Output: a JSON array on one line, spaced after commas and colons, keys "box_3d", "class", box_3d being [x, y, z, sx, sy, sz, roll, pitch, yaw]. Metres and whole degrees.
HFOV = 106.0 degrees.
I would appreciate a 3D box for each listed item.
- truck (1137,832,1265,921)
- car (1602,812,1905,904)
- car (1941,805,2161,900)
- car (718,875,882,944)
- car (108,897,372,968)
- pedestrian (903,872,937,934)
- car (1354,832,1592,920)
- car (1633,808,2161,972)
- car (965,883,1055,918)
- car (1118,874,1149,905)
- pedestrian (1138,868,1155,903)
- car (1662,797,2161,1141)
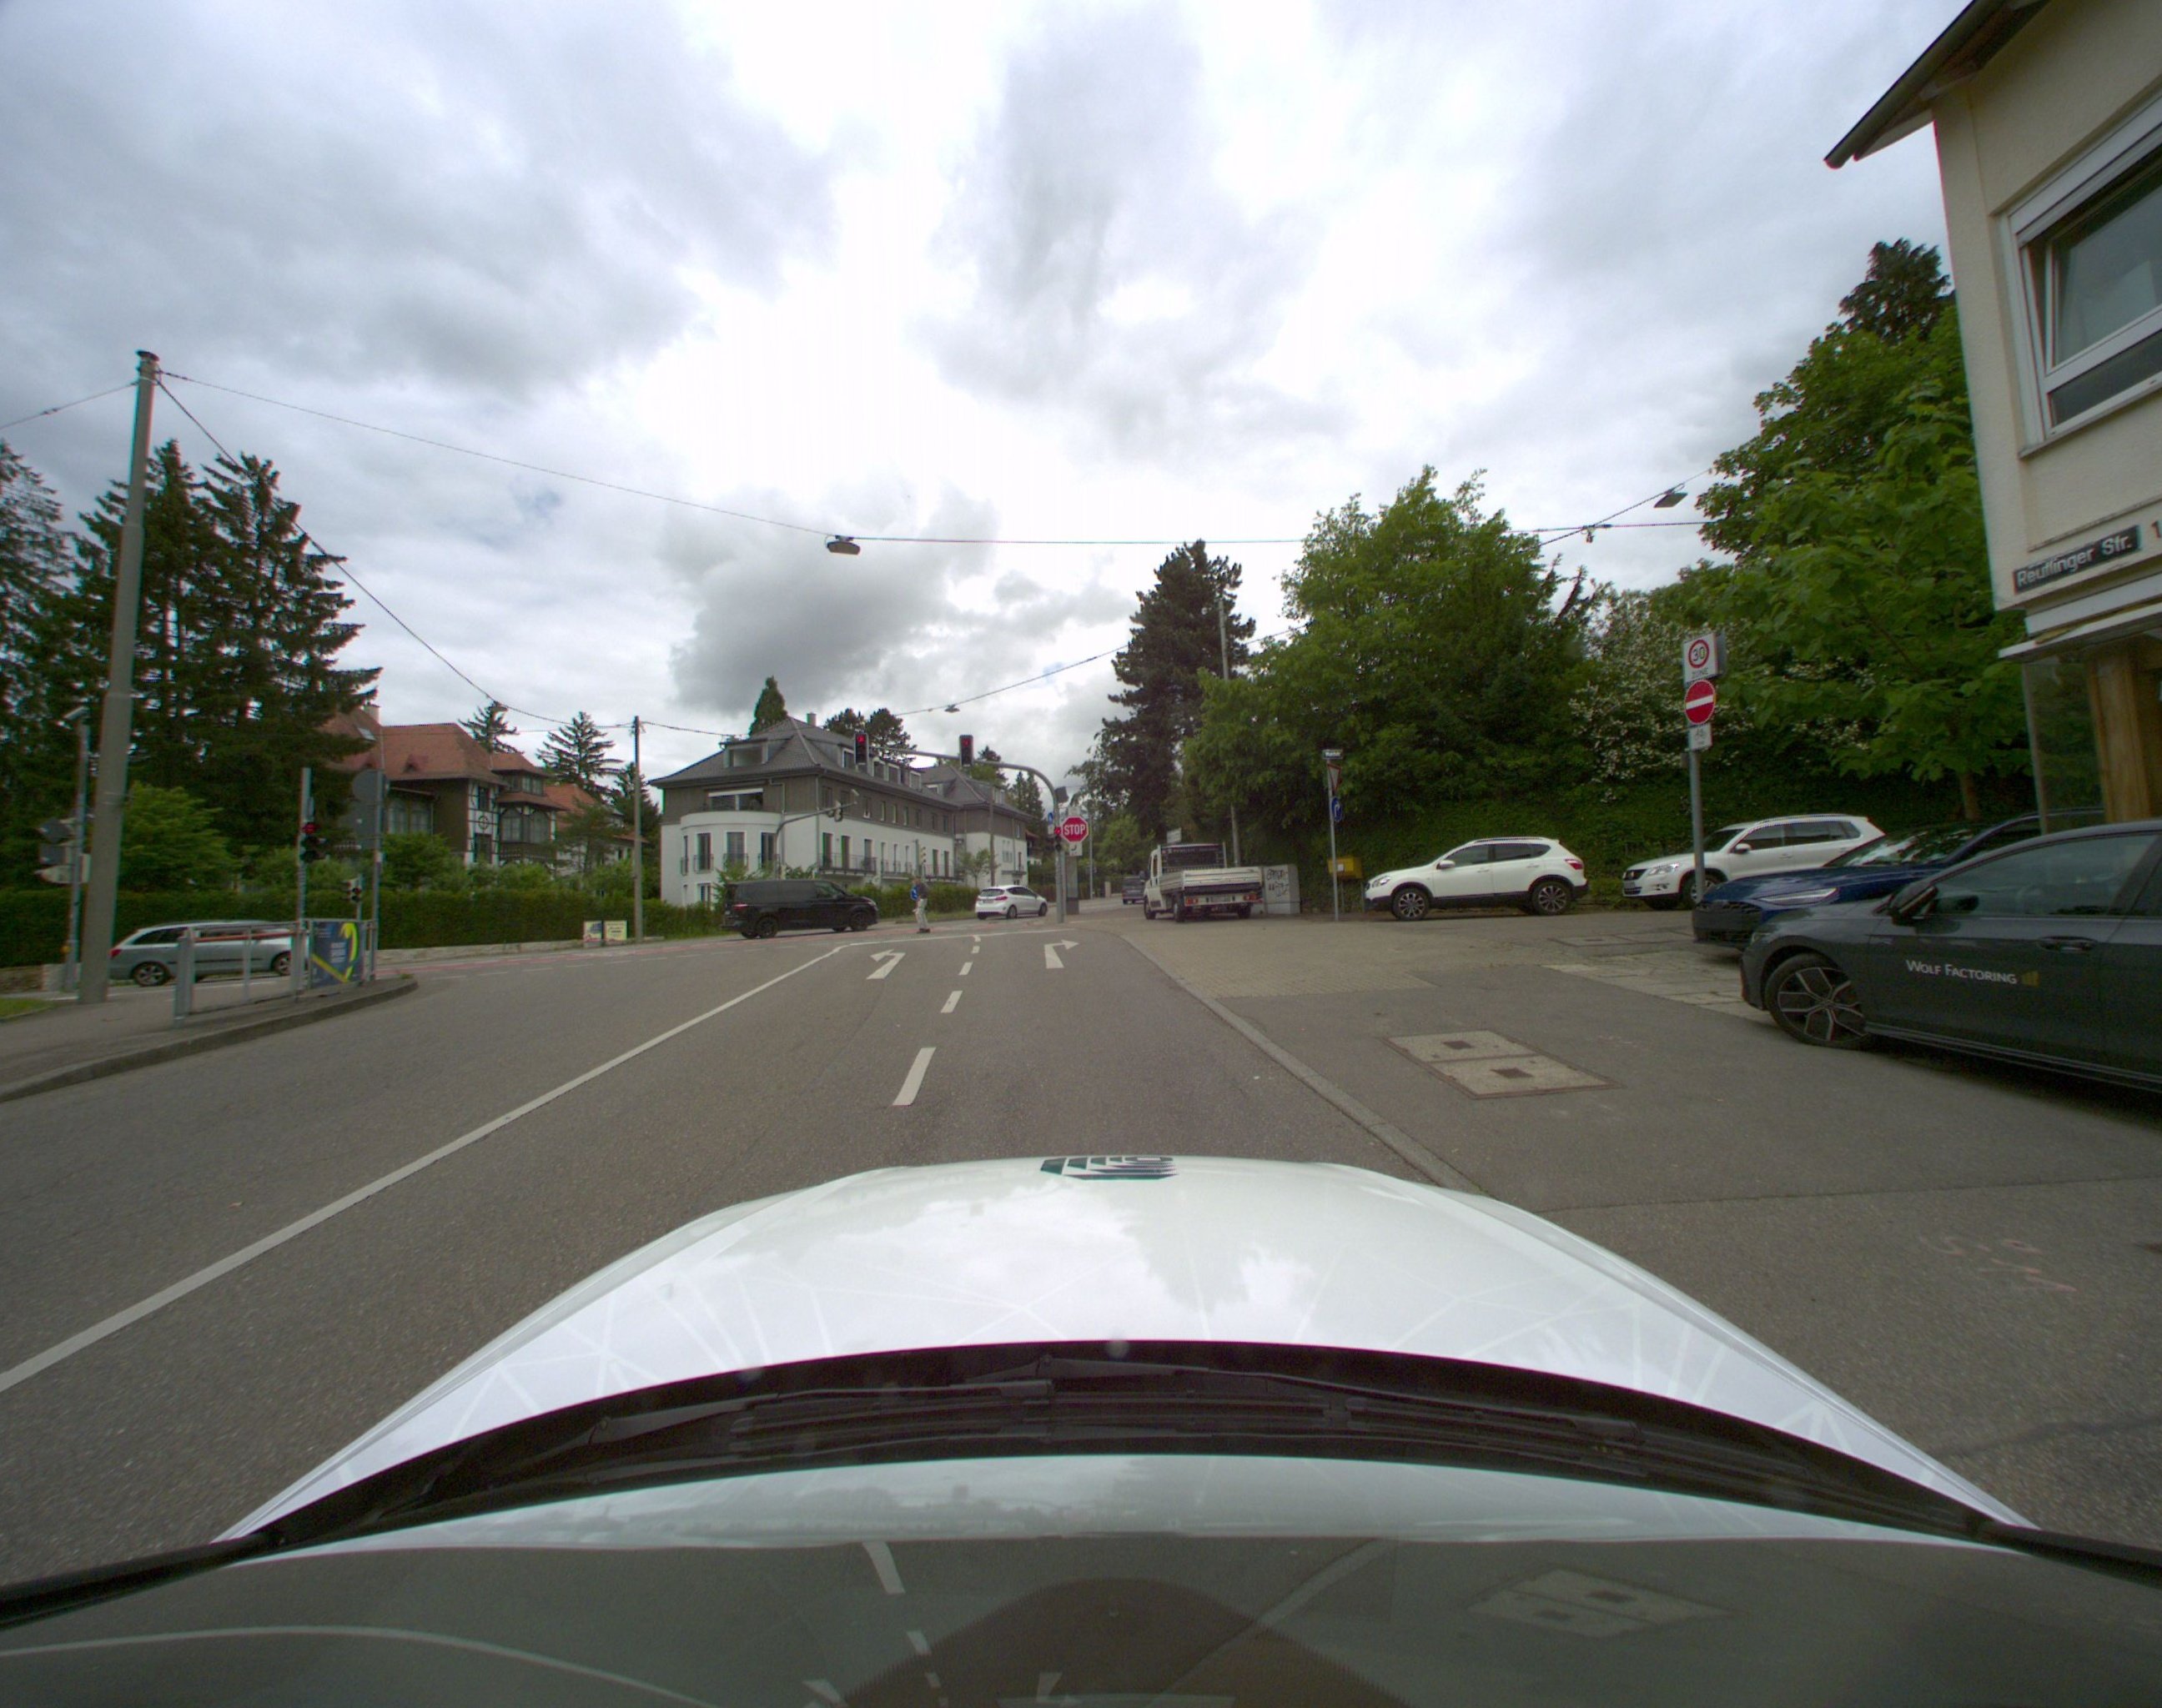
[{"box_3d": [3.274, 0.732, 23.650, 2.181, 2.195, 5.867, -2, -3, -6], "class": "truck"}, {"box_3d": [12.821, 0.113, 15.836, 4.034, 1.467, 2.006, -3, -2, 10], "class": "car"}, {"box_3d": [18.864, -0.024, 14.620, 4.257, 1.447, 2.004, -3, -6, 9], "class": "car"}, {"box_3d": [-9.340, 1.773, 27.272, 4.803, 2.014, 1.977, 0, 0, -38], "class": "car"}, {"box_3d": [-20.667, 1.893, 20.261, 4.197, 1.476, 1.701, 0, 0, -21], "class": "car"}, {"box_3d": [-4.596, 1.381, 23.239, 0.703, 1.682, 0.678, -2, 0, -36], "class": "pedestrian"}, {"box_3d": [8.072, 0.512, 17.245, 4.207, 1.594, 1.996, -3, -4, 16], "class": "car"}, {"box_3d": [8.549, 0.336, 8.268, 4.471, 1.327, 1.840, -3, -2, 8], "class": "car"}, {"box_3d": [-3.048, 2.013, 35.812, 1.912, 1.383, 4.024, -4, -3, 30], "class": "car"}, {"box_3d": [3.791, 2.545, 59.383, 1.987, 2.013, 4.510, -2, 0, 1], "class": "car"}, {"box_3d": [3.792, 1.818, 47.314, 0.835, 2.014, 0.589, -3, -2, 1], "class": "pedestrian"}, {"box_3d": [5.592, 0.461, 4.239, 1.843, 1.472, 4.382, -4, 0, -2], "class": "car"}]
